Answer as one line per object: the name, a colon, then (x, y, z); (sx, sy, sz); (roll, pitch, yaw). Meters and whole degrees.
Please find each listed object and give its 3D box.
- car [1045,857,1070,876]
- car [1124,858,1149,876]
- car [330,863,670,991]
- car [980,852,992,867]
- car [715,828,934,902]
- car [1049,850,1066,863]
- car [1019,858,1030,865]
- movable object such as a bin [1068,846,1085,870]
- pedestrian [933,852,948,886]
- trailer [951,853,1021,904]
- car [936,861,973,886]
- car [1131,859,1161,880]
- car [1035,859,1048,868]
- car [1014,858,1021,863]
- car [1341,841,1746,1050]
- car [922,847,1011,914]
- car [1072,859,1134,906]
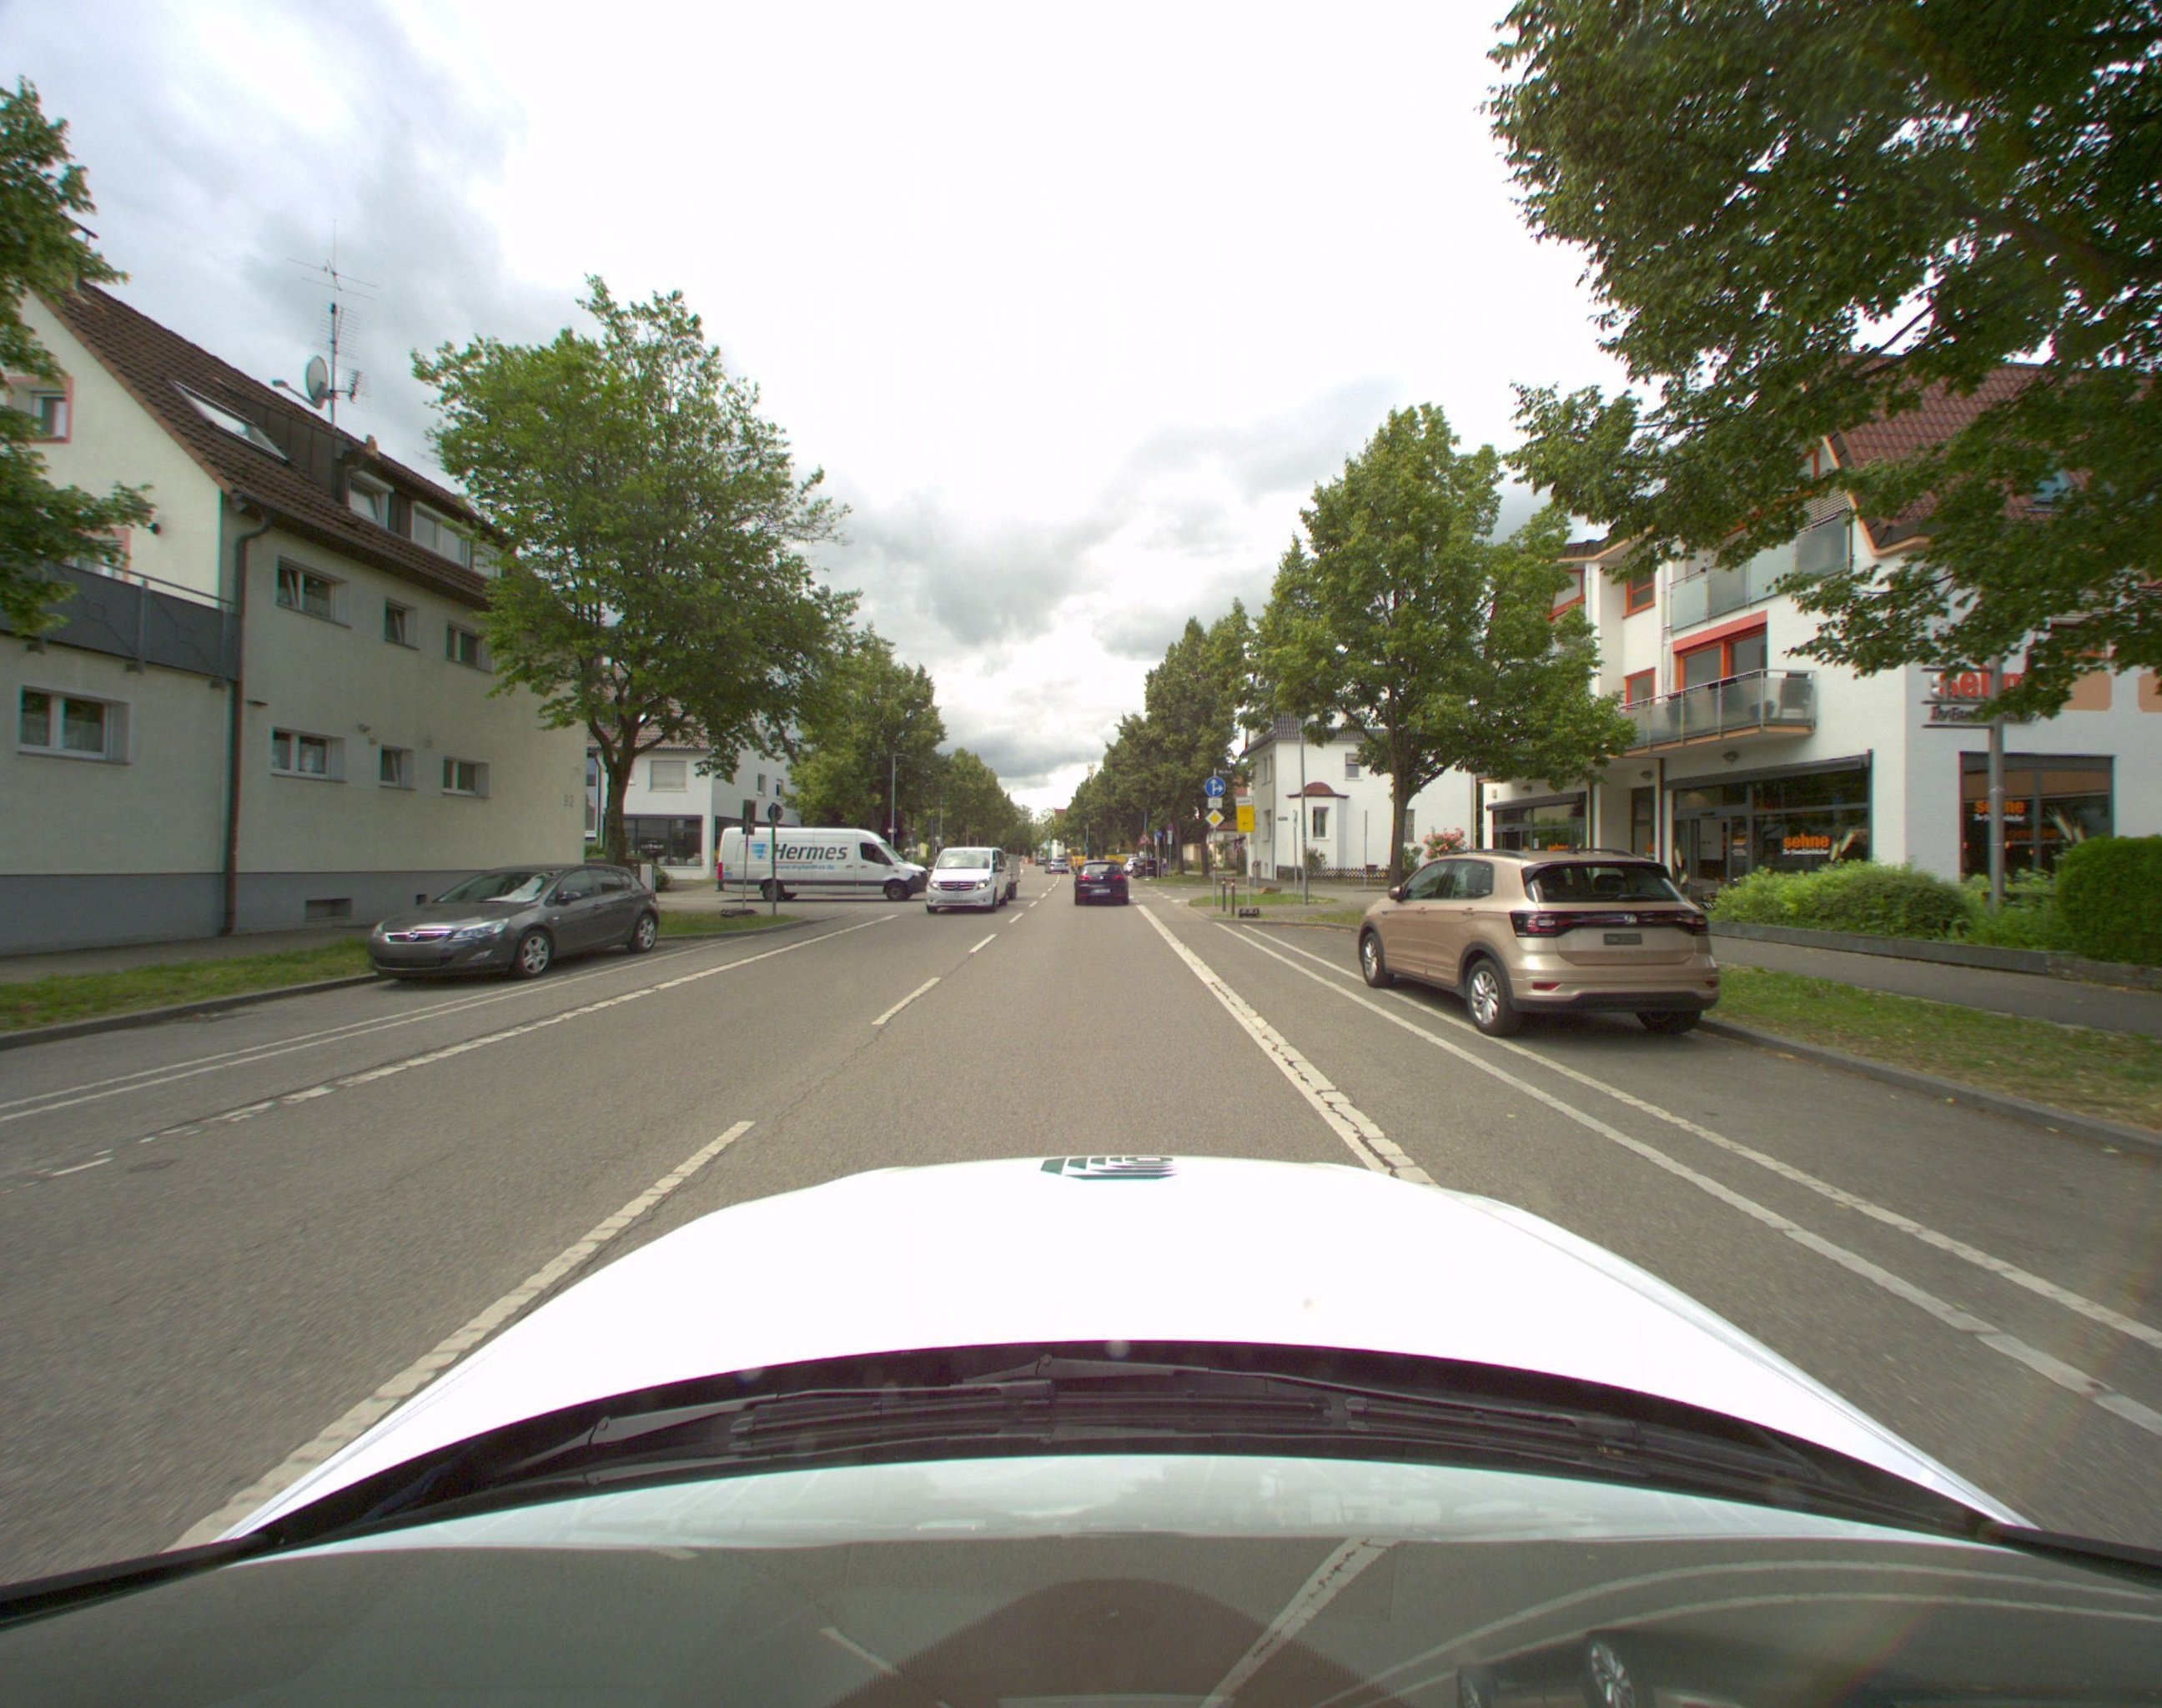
car: (-2.170, 1.109, 75.111); (1.905, 1.685, 3.729); (-1, 0, -8)
car: (4.549, 1.043, 67.223); (1.668, 1.462, 3.996); (0, 0, -2)
car: (-7.936, 0.882, 11.748); (1.725, 1.469, 4.302); (-1, 0, 1)
car: (-17.311, 1.038, 148.416); (2.091, 2.626, 5.030); (0, 0, -8)
car: (-9.175, 0.390, 29.716); (7.273, 2.594, 2.217); (0, -1, -4)
car: (-2.959, 0.345, 102.551); (1.790, 1.623, 3.729); (-1, 0, -8)
car: (-11.895, 1.564, 170.628); (1.811, 1.415, 3.679); (0, 0, -11)
movable object such as a bin: (-0.516, 0.476, 89.495); (1.764, 2.574, 3.737); (0, 0, -2)
pedestrian: (-7.163, 0.753, 41.543); (0.539, 1.681, 0.752); (1, 1, 8)
trailer: (-3.299, 0.808, 29.221); (1.931, 1.677, 4.688); (0, 0, 0)
car: (-7.611, 1.151, 49.388); (1.638, 1.420, 4.018); (-1, 0, -1)
car: (4.541, 1.067, 57.428); (1.700, 1.454, 4.614); (0, 0, -1)
car: (-6.411, 1.482, 132.025); (1.810, 1.375, 3.680); (0, 0, -10)
car: (-16.624, 1.675, 212.119); (1.807, 1.415, 3.686); (0, 0, -5)
car: (4.188, 0.700, 8.242); (1.717, 1.580, 4.058); (0, 0, -2)
car: (-3.318, 0.729, 24.463); (1.960, 1.830, 4.818); (0, 0, 0)
car: (0.659, 0.887, 26.928); (1.814, 1.438, 3.737); (-1, 0, -2)
